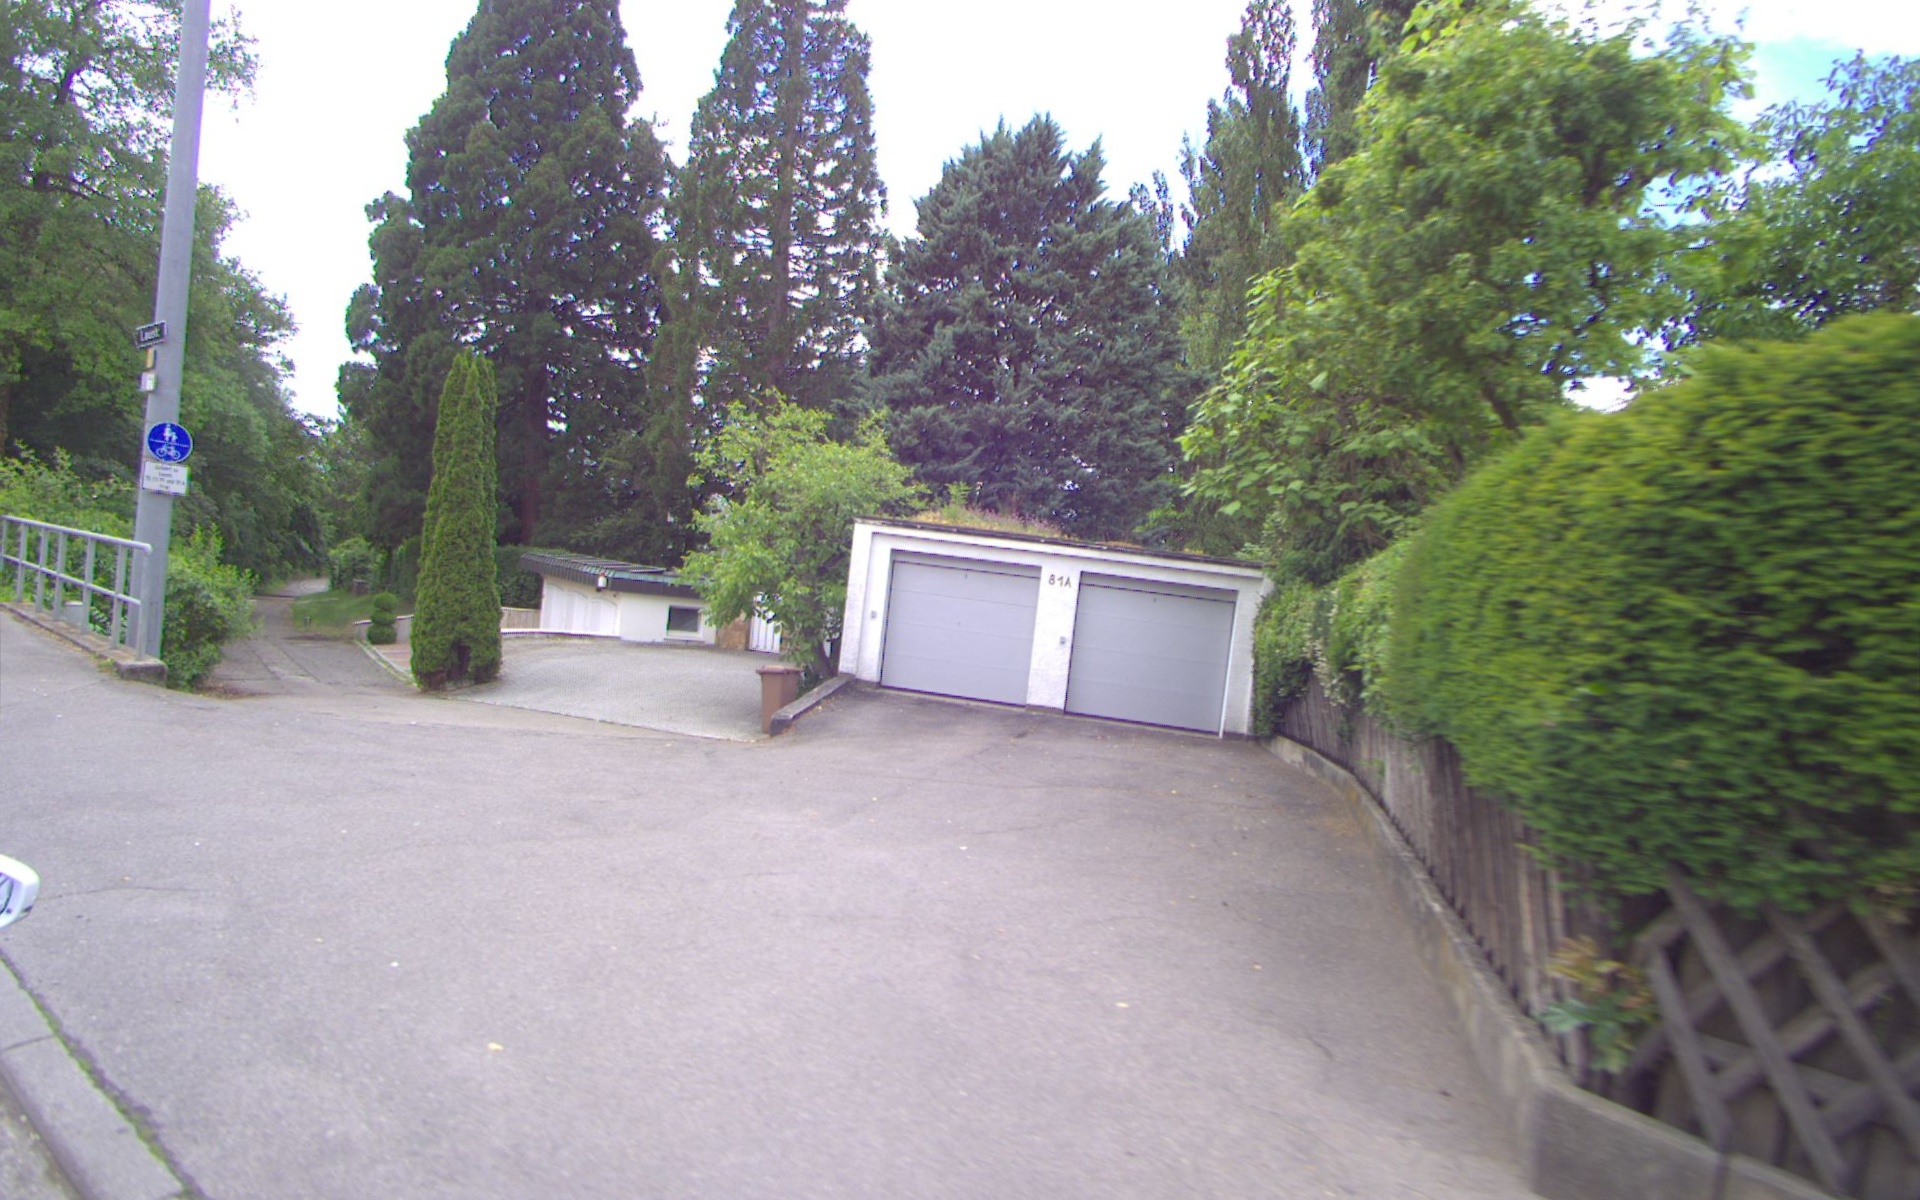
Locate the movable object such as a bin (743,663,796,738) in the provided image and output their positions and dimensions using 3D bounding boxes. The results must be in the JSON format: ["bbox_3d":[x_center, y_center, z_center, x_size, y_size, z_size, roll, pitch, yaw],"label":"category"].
[{"bbox_3d":[-2.637,1.380,13.936,0.499,0.986,0.541,3,-1,10],"label":"movable object such as a bin"}]
